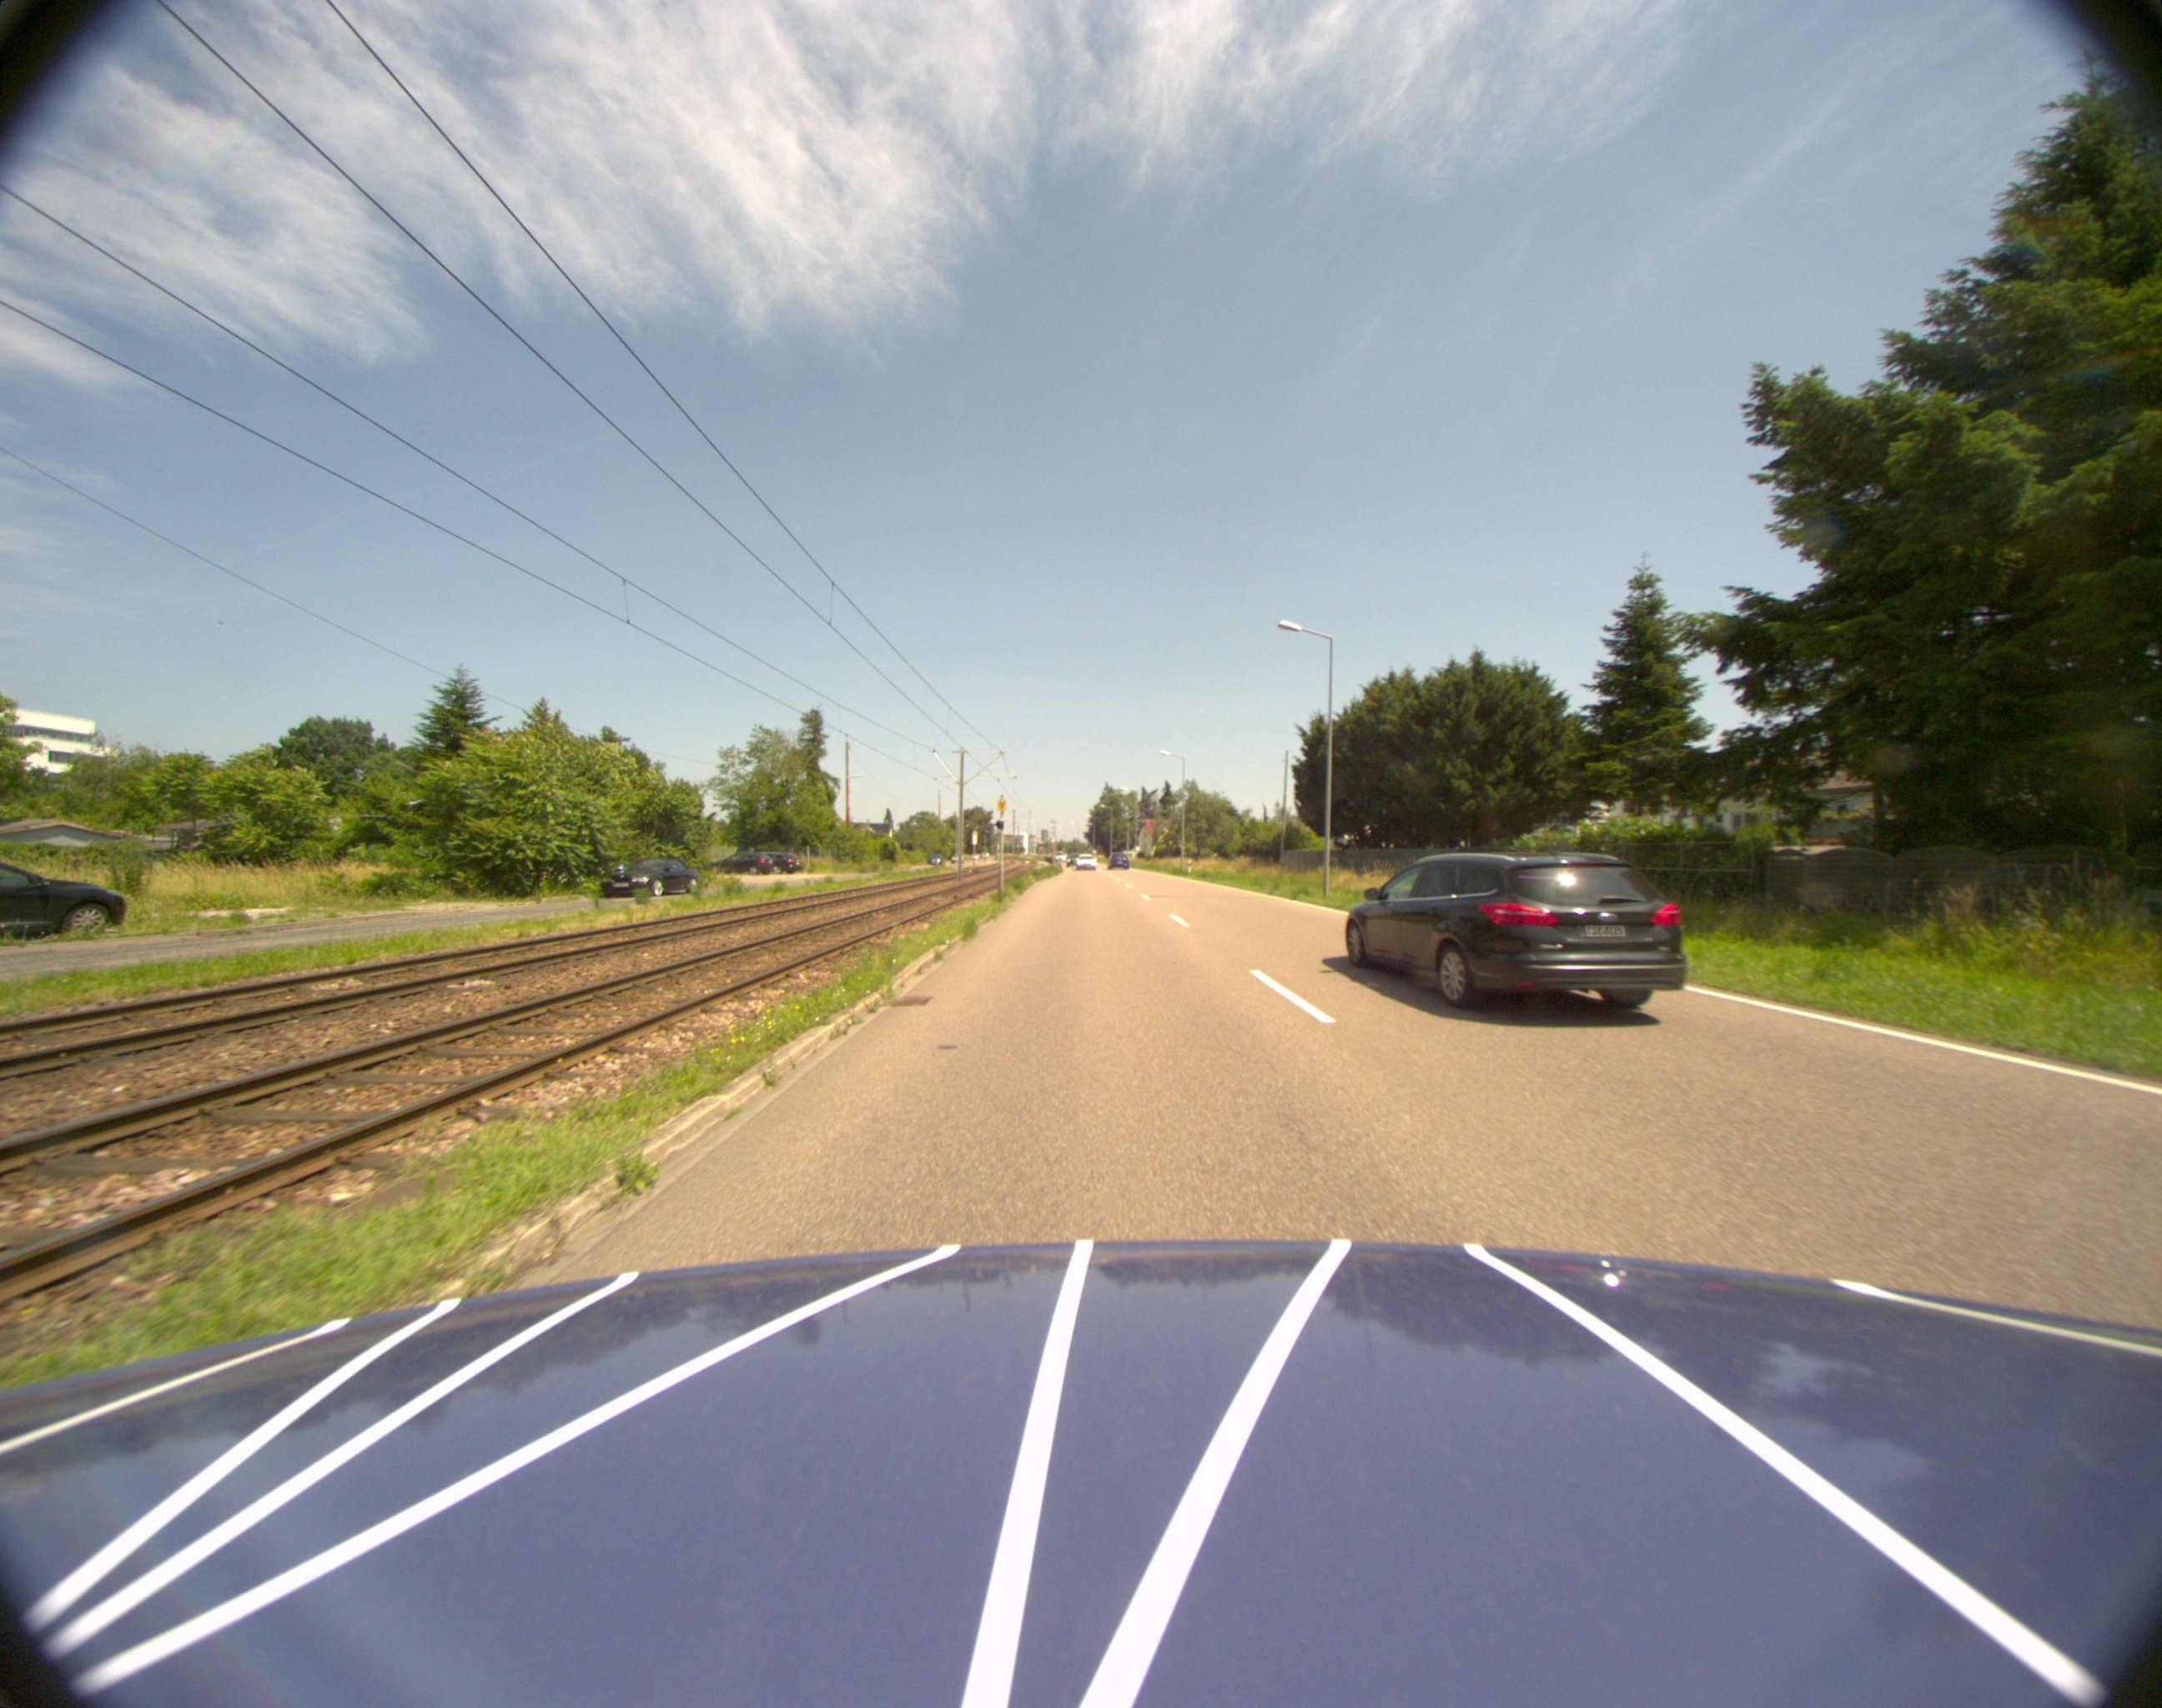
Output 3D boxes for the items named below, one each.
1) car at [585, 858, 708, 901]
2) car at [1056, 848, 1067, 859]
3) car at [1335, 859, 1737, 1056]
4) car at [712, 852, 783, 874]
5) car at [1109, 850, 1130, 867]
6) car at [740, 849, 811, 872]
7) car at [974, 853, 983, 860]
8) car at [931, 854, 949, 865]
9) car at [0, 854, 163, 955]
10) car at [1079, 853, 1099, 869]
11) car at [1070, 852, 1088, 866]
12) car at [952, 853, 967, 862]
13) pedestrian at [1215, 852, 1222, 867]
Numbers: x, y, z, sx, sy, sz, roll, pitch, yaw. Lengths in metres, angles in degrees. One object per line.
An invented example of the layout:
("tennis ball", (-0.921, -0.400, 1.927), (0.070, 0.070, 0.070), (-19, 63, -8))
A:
("car", (-15.252, 0.850, 26.981), (1.866, 1.322, 4.514), (0, 0, -2))
("car", (-3.561, -0.061, 137.618), (1.938, 2.002, 3.999), (0, 1, -3))
("car", (4.291, 0.821, 8.158), (1.704, 1.483, 4.440), (0, 0, 1))
("car", (-21.409, 0.571, 48.908), (3.737, 1.411, 1.899), (0, 1, 0))
("car", (3.642, 0.427, 72.690), (1.751, 1.622, 4.029), (0, 1, 0))
("car", (-20.669, 0.447, 51.462), (3.995, 1.509, 1.899), (0, 1, 5))
("car", (-23.146, 0.539, 171.260), (1.718, 1.480, 3.999), (0, 1, -5))
("car", (-17.951, 0.672, 96.960), (1.624, 1.414, 4.871), (0, 0, -3))
("car", (-17.816, 0.794, 11.669), (1.940, 1.552, 4.555), (0, 0, -2))
("car", (0.726, 0.664, 71.747), (1.856, 1.447, 3.705), (0, 1, -1))
("car", (-0.292, 0.524, 87.897), (1.999, 1.576, 3.999), (0, 1, -1))
("car", (-18.457, 0.509, 115.590), (1.945, 1.414, 3.998), (0, 0, -4))
("pedestrian", (13.807, 0.568, 76.139), (0.610, 1.469, 0.633), (0, 1, -1))
